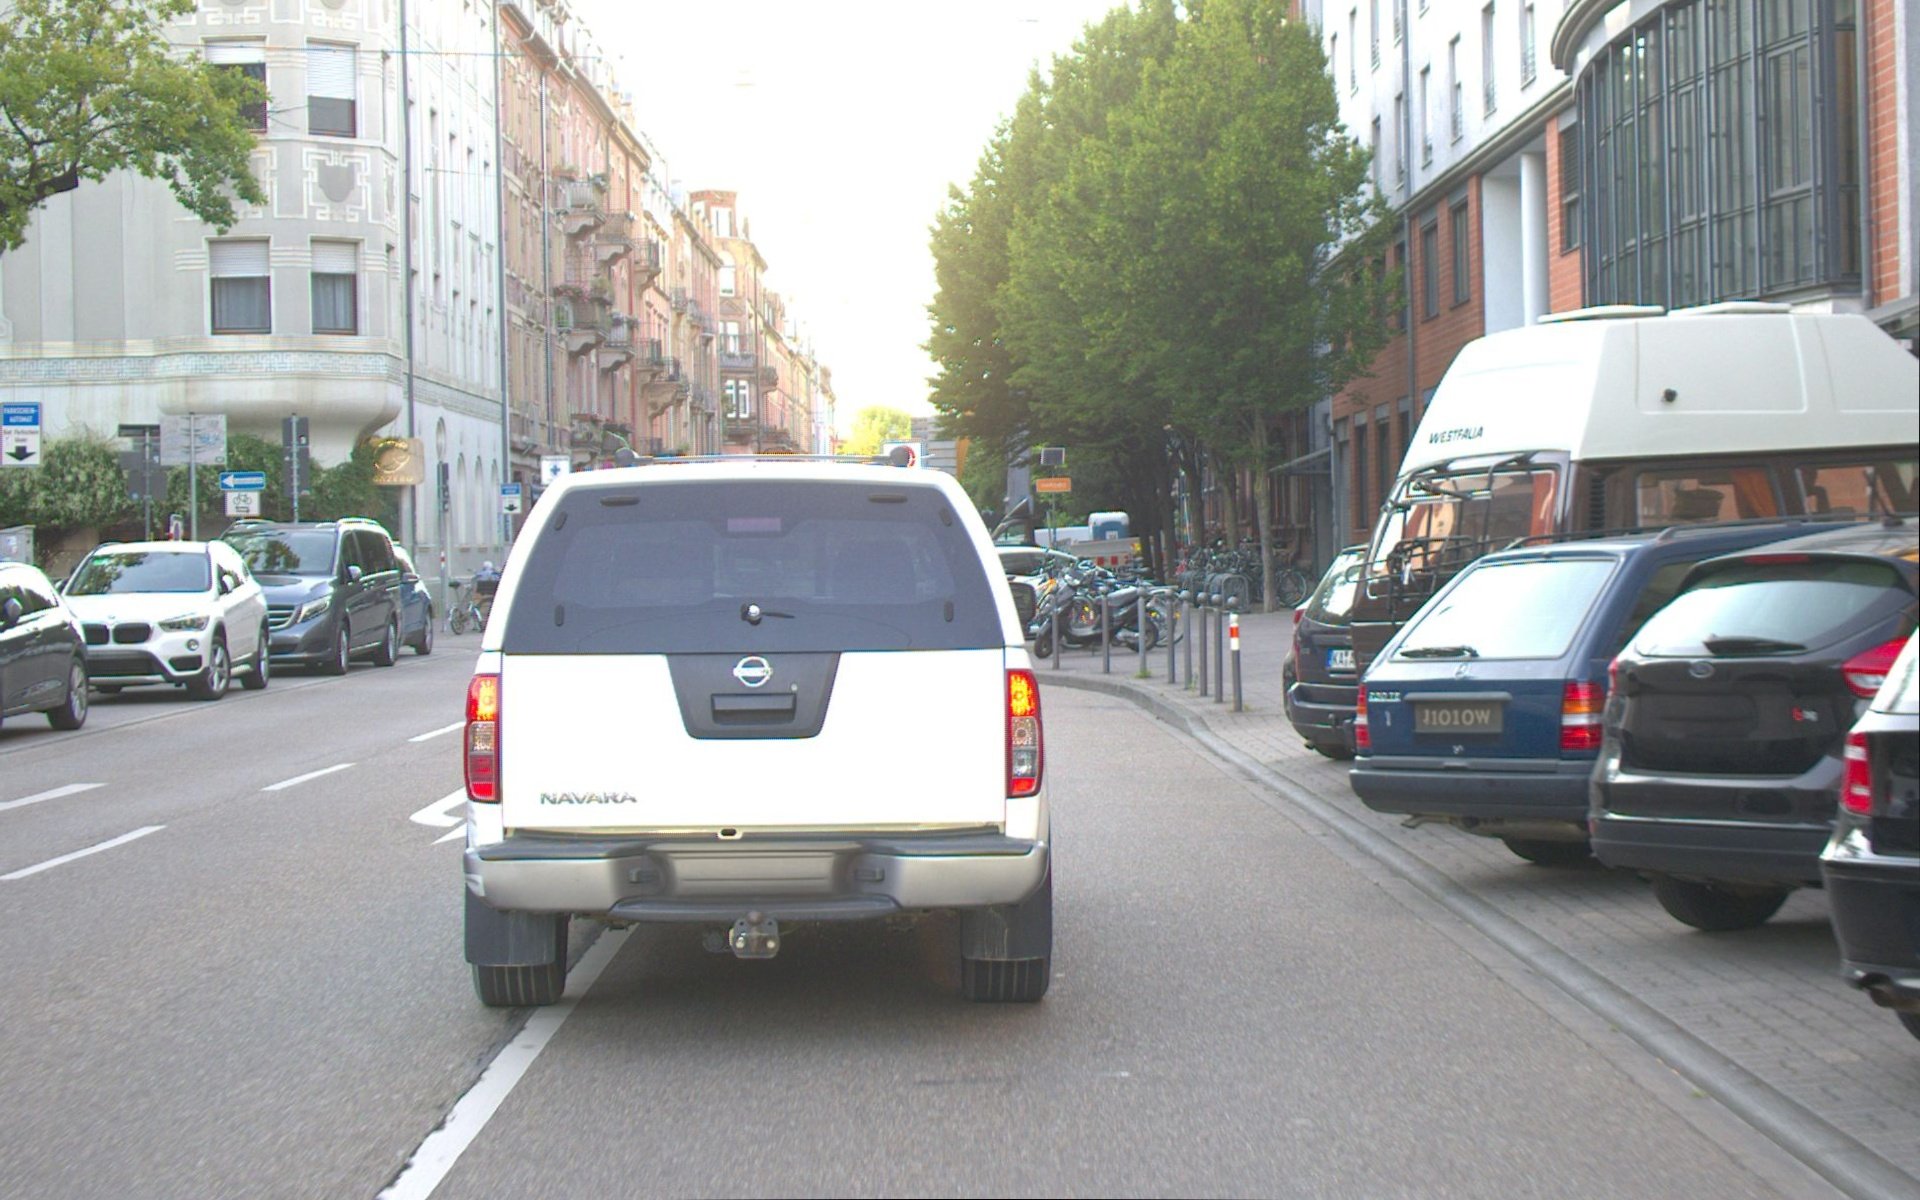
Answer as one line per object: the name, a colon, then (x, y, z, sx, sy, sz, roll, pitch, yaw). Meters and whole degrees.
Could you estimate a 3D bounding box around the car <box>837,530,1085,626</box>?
car: (0.029, -0.400, 59.475, 3.987, 1.532, 1.636, -2, 2, -31)

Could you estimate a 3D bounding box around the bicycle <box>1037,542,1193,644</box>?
bicycle: (1.941, -0.094, 43.218, 1.859, 1.142, 0.659, -4, 1, 0)

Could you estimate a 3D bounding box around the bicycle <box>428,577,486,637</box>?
bicycle: (-9.159, 0.119, 62.646, 0.423, 1.009, 1.717, 0, 2, 13)

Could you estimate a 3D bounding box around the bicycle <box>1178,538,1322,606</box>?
bicycle: (5.211, -0.508, 61.857, 2.534, 1.162, 0.562, -1, 1, 3)

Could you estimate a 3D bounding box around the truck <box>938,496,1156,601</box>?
truck: (2.546, -1.500, 101.139, 6.320, 2.966, 2.264, 0, -2, 2)

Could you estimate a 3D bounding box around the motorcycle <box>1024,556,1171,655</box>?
motorcycle: (1.678, 0.058, 41.991, 1.644, 1.098, 0.647, -3, 1, -8)

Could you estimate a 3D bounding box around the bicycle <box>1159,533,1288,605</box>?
bicycle: (5.284, -0.620, 68.908, 2.534, 1.375, 0.599, -1, 1, 3)

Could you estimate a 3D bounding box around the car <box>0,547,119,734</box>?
car: (-8.238, 0.310, 27.650, 1.783, 1.430, 4.316, -1, 1, 1)

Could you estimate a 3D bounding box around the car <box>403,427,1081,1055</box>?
car: (-0.660, 0.392, 12.216, 1.933, 1.788, 4.622, 1, 0, -1)

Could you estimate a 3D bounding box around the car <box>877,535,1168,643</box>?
car: (0.945, -0.176, 51.642, 3.987, 1.501, 1.770, -2, 1, -29)

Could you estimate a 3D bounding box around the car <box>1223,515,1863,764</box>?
car: (3.927, 0.215, 22.983, 4.056, 1.487, 1.724, -2, 1, -31)

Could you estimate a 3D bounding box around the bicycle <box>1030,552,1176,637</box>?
bicycle: (1.894, -0.074, 45.504, 1.857, 1.035, 0.402, -3, 1, -1)

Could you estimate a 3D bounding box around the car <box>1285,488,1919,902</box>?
car: (3.797, 0.290, 15.152, 4.385, 1.481, 1.844, -4, 2, -30)

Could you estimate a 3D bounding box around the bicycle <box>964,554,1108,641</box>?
bicycle: (1.018, -0.039, 46.001, 1.857, 1.062, 0.446, -3, 1, -1)

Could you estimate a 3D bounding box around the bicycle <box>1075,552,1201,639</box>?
bicycle: (2.293, -0.059, 44.413, 1.539, 1.035, 0.472, -3, 1, -1)

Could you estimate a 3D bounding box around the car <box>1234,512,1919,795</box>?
car: (4.009, 0.257, 20.602, 4.342, 1.497, 1.913, -2, 1, -28)

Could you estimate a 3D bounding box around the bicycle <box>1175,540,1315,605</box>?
bicycle: (5.275, -0.511, 63.741, 2.534, 1.162, 0.562, -1, 1, 3)

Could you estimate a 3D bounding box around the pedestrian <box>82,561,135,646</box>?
pedestrian: (-14.893, 0.053, 60.138, 0.701, 1.464, 0.784, -1, 1, -1)

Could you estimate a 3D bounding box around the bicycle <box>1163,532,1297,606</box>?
bicycle: (5.236, -0.604, 66.745, 2.534, 1.375, 0.599, -1, 1, 3)

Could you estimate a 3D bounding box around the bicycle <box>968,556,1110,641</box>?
bicycle: (1.074, -0.024, 46.711, 1.857, 1.062, 0.446, -3, 1, -1)

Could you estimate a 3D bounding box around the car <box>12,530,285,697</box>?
car: (-8.332, 0.095, 35.658, 1.871, 1.586, 4.469, -1, 1, -2)

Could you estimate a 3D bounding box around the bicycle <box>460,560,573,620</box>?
bicycle: (-8.221, -0.186, 63.687, 2.113, 1.091, 0.500, 0, 2, 25)

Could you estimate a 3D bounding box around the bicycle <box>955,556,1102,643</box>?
bicycle: (0.893, -0.013, 44.896, 1.857, 1.035, 0.472, -3, 1, -1)

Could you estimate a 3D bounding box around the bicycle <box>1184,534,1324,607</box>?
bicycle: (5.154, -0.523, 60.287, 2.346, 1.095, 0.680, -4, 1, 3)

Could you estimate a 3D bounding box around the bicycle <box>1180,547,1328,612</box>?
bicycle: (5.234, -0.368, 61.237, 2.534, 0.956, 0.680, -4, 1, 3)

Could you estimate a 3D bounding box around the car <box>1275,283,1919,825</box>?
car: (4.179, -0.263, 18.071, 4.710, 2.538, 1.918, -1, 0, -29)

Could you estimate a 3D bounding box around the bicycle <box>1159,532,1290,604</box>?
bicycle: (5.241, -0.631, 68.178, 2.534, 1.375, 0.599, -1, 1, 3)

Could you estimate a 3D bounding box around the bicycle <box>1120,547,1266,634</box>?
bicycle: (3.127, -0.132, 46.204, 1.857, 1.062, 0.524, -3, 1, -1)

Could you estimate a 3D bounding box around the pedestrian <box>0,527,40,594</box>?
pedestrian: (-14.168, -0.586, 51.205, 0.706, 0.977, 0.837, -1, 1, -2)

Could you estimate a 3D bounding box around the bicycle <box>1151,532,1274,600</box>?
bicycle: (5.311, -0.710, 72.392, 2.534, 1.375, 0.599, -1, 1, 3)

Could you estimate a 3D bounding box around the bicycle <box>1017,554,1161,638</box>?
bicycle: (1.774, -0.062, 47.497, 1.911, 1.062, 0.524, -3, 1, -1)

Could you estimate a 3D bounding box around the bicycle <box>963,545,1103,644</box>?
bicycle: (0.926, -0.073, 43.872, 1.707, 1.172, 0.472, -3, 1, -1)

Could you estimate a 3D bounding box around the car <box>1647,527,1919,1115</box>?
car: (4.049, 0.426, 9.488, 4.022, 1.427, 1.868, -4, 1, -34)

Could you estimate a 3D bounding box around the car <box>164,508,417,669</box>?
car: (-8.229, -0.183, 42.777, 1.993, 1.860, 5.289, -1, 1, 1)

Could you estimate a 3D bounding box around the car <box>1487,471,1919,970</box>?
car: (4.154, 0.324, 12.423, 4.108, 1.540, 1.795, -3, -1, -28)

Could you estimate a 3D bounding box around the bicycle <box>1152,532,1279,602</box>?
bicycle: (5.226, -0.683, 70.387, 2.534, 1.375, 0.599, -1, 1, 3)

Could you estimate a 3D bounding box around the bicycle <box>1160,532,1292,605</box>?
bicycle: (5.207, -0.614, 67.459, 2.534, 1.375, 0.599, -1, 1, 3)

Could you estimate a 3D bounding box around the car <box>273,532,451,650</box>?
car: (-8.269, -0.153, 47.854, 1.640, 1.550, 4.004, -1, 1, 2)
